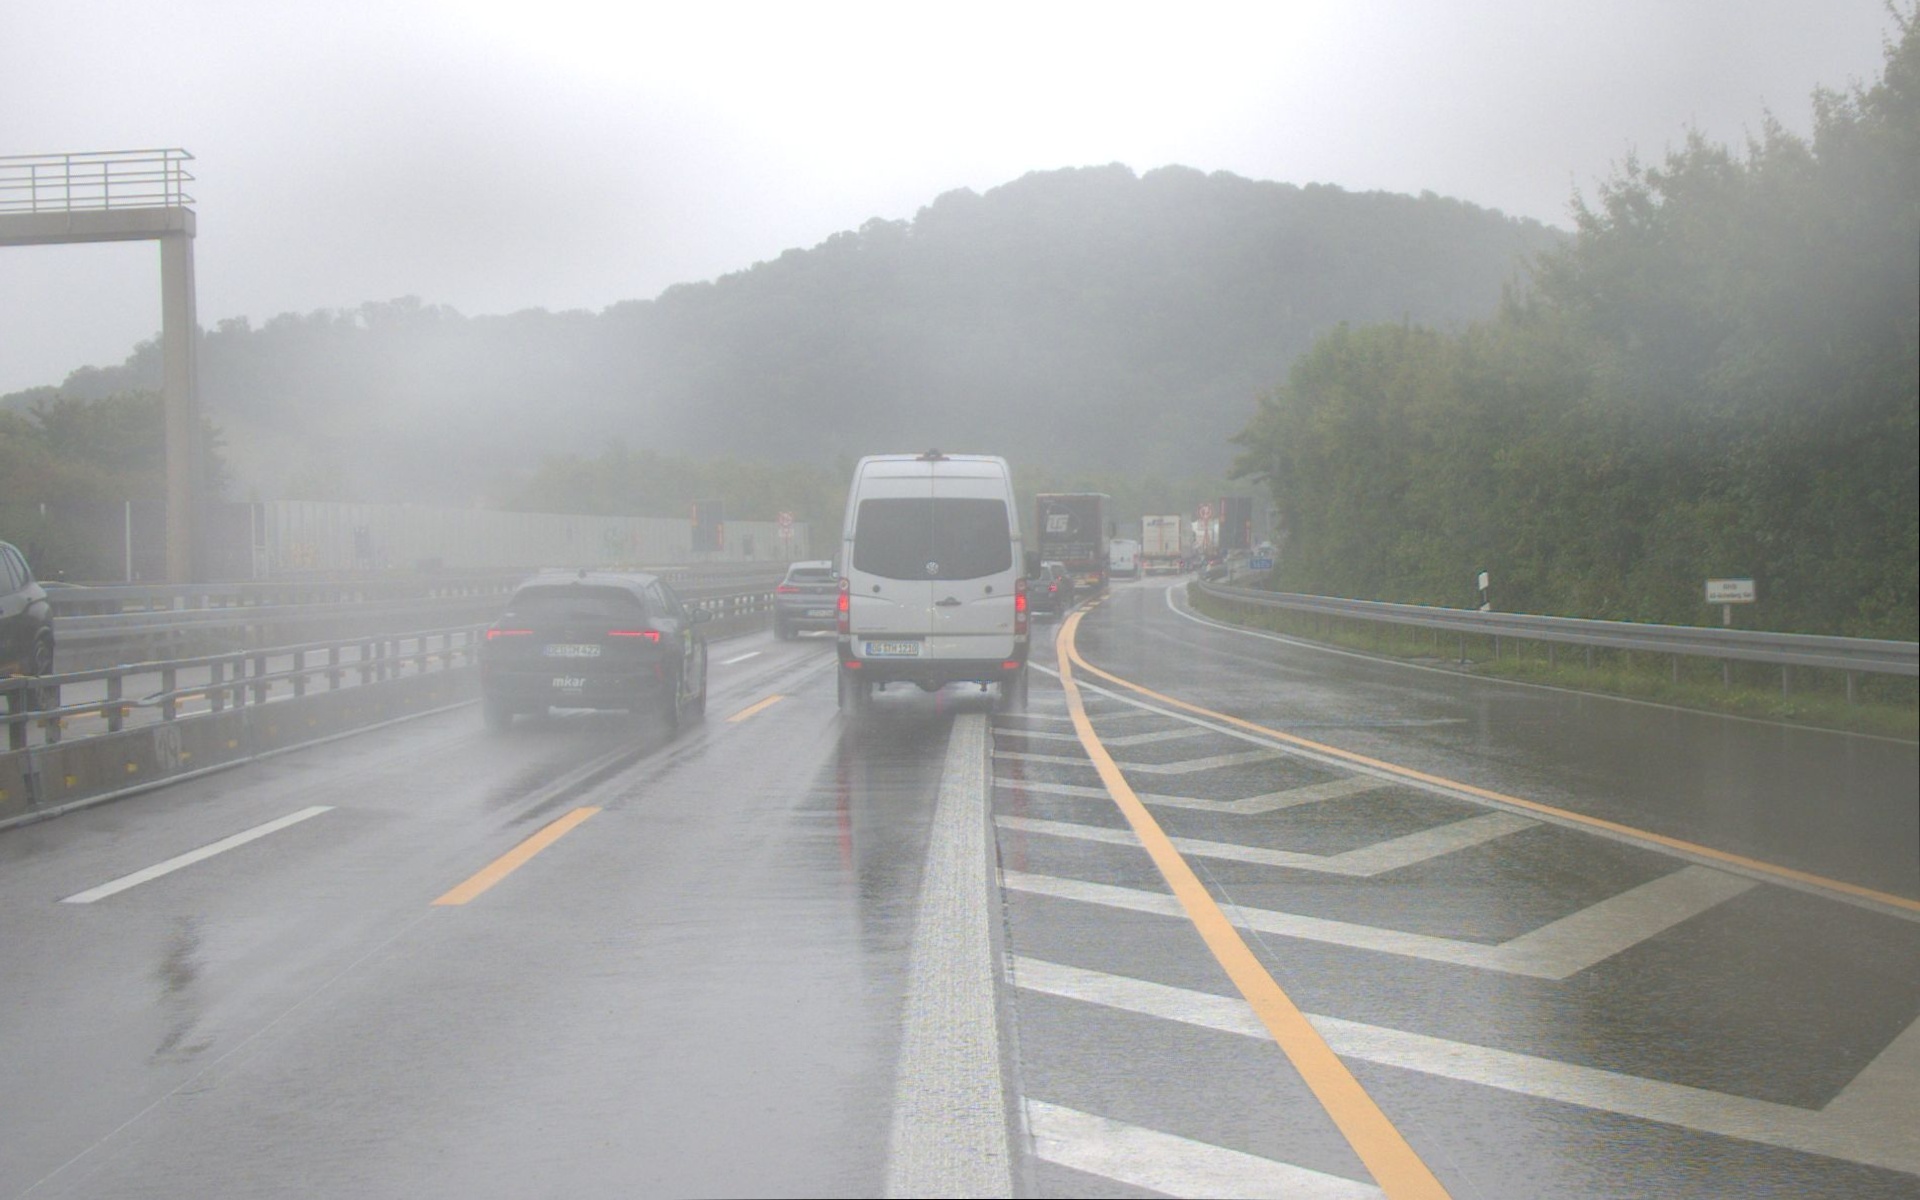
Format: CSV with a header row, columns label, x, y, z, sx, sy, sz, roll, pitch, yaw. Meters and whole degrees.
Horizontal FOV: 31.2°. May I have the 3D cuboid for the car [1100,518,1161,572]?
label,x,y,z,sx,sy,sz,roll,pitch,yaw
car,9.302,-2.969,186.990,2.899,2.877,6.410,1,0,6

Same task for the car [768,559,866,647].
label,x,y,z,sx,sy,sz,roll,pitch,yaw
car,-2.736,0.039,66.416,1.707,1.622,4.000,1,0,0

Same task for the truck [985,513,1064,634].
label,x,y,z,sx,sy,sz,roll,pitch,yaw
truck,1.790,-0.716,92.852,1.993,3.098,8.498,1,0,2

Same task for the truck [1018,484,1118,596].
label,x,y,z,sx,sy,sz,roll,pitch,yaw
truck,4.511,-2.411,141.318,3.582,4.391,9.622,1,0,5

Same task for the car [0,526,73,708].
label,x,y,z,sx,sy,sz,roll,pitch,yaw
car,-9.992,0.150,32.466,1.951,1.711,5.103,1,0,-1

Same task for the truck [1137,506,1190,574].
label,x,y,z,sx,sy,sz,roll,pitch,yaw
truck,13.499,-3.934,227.407,3.037,4.391,9.622,1,0,6

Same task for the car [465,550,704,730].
label,x,y,z,sx,sy,sz,roll,pitch,yaw
car,-3.444,0.333,32.180,1.946,1.556,4.000,1,0,-2

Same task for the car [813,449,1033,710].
label,x,y,z,sx,sy,sz,roll,pitch,yaw
car,-0.359,-0.228,36.787,2.145,2.562,5.390,1,0,0
